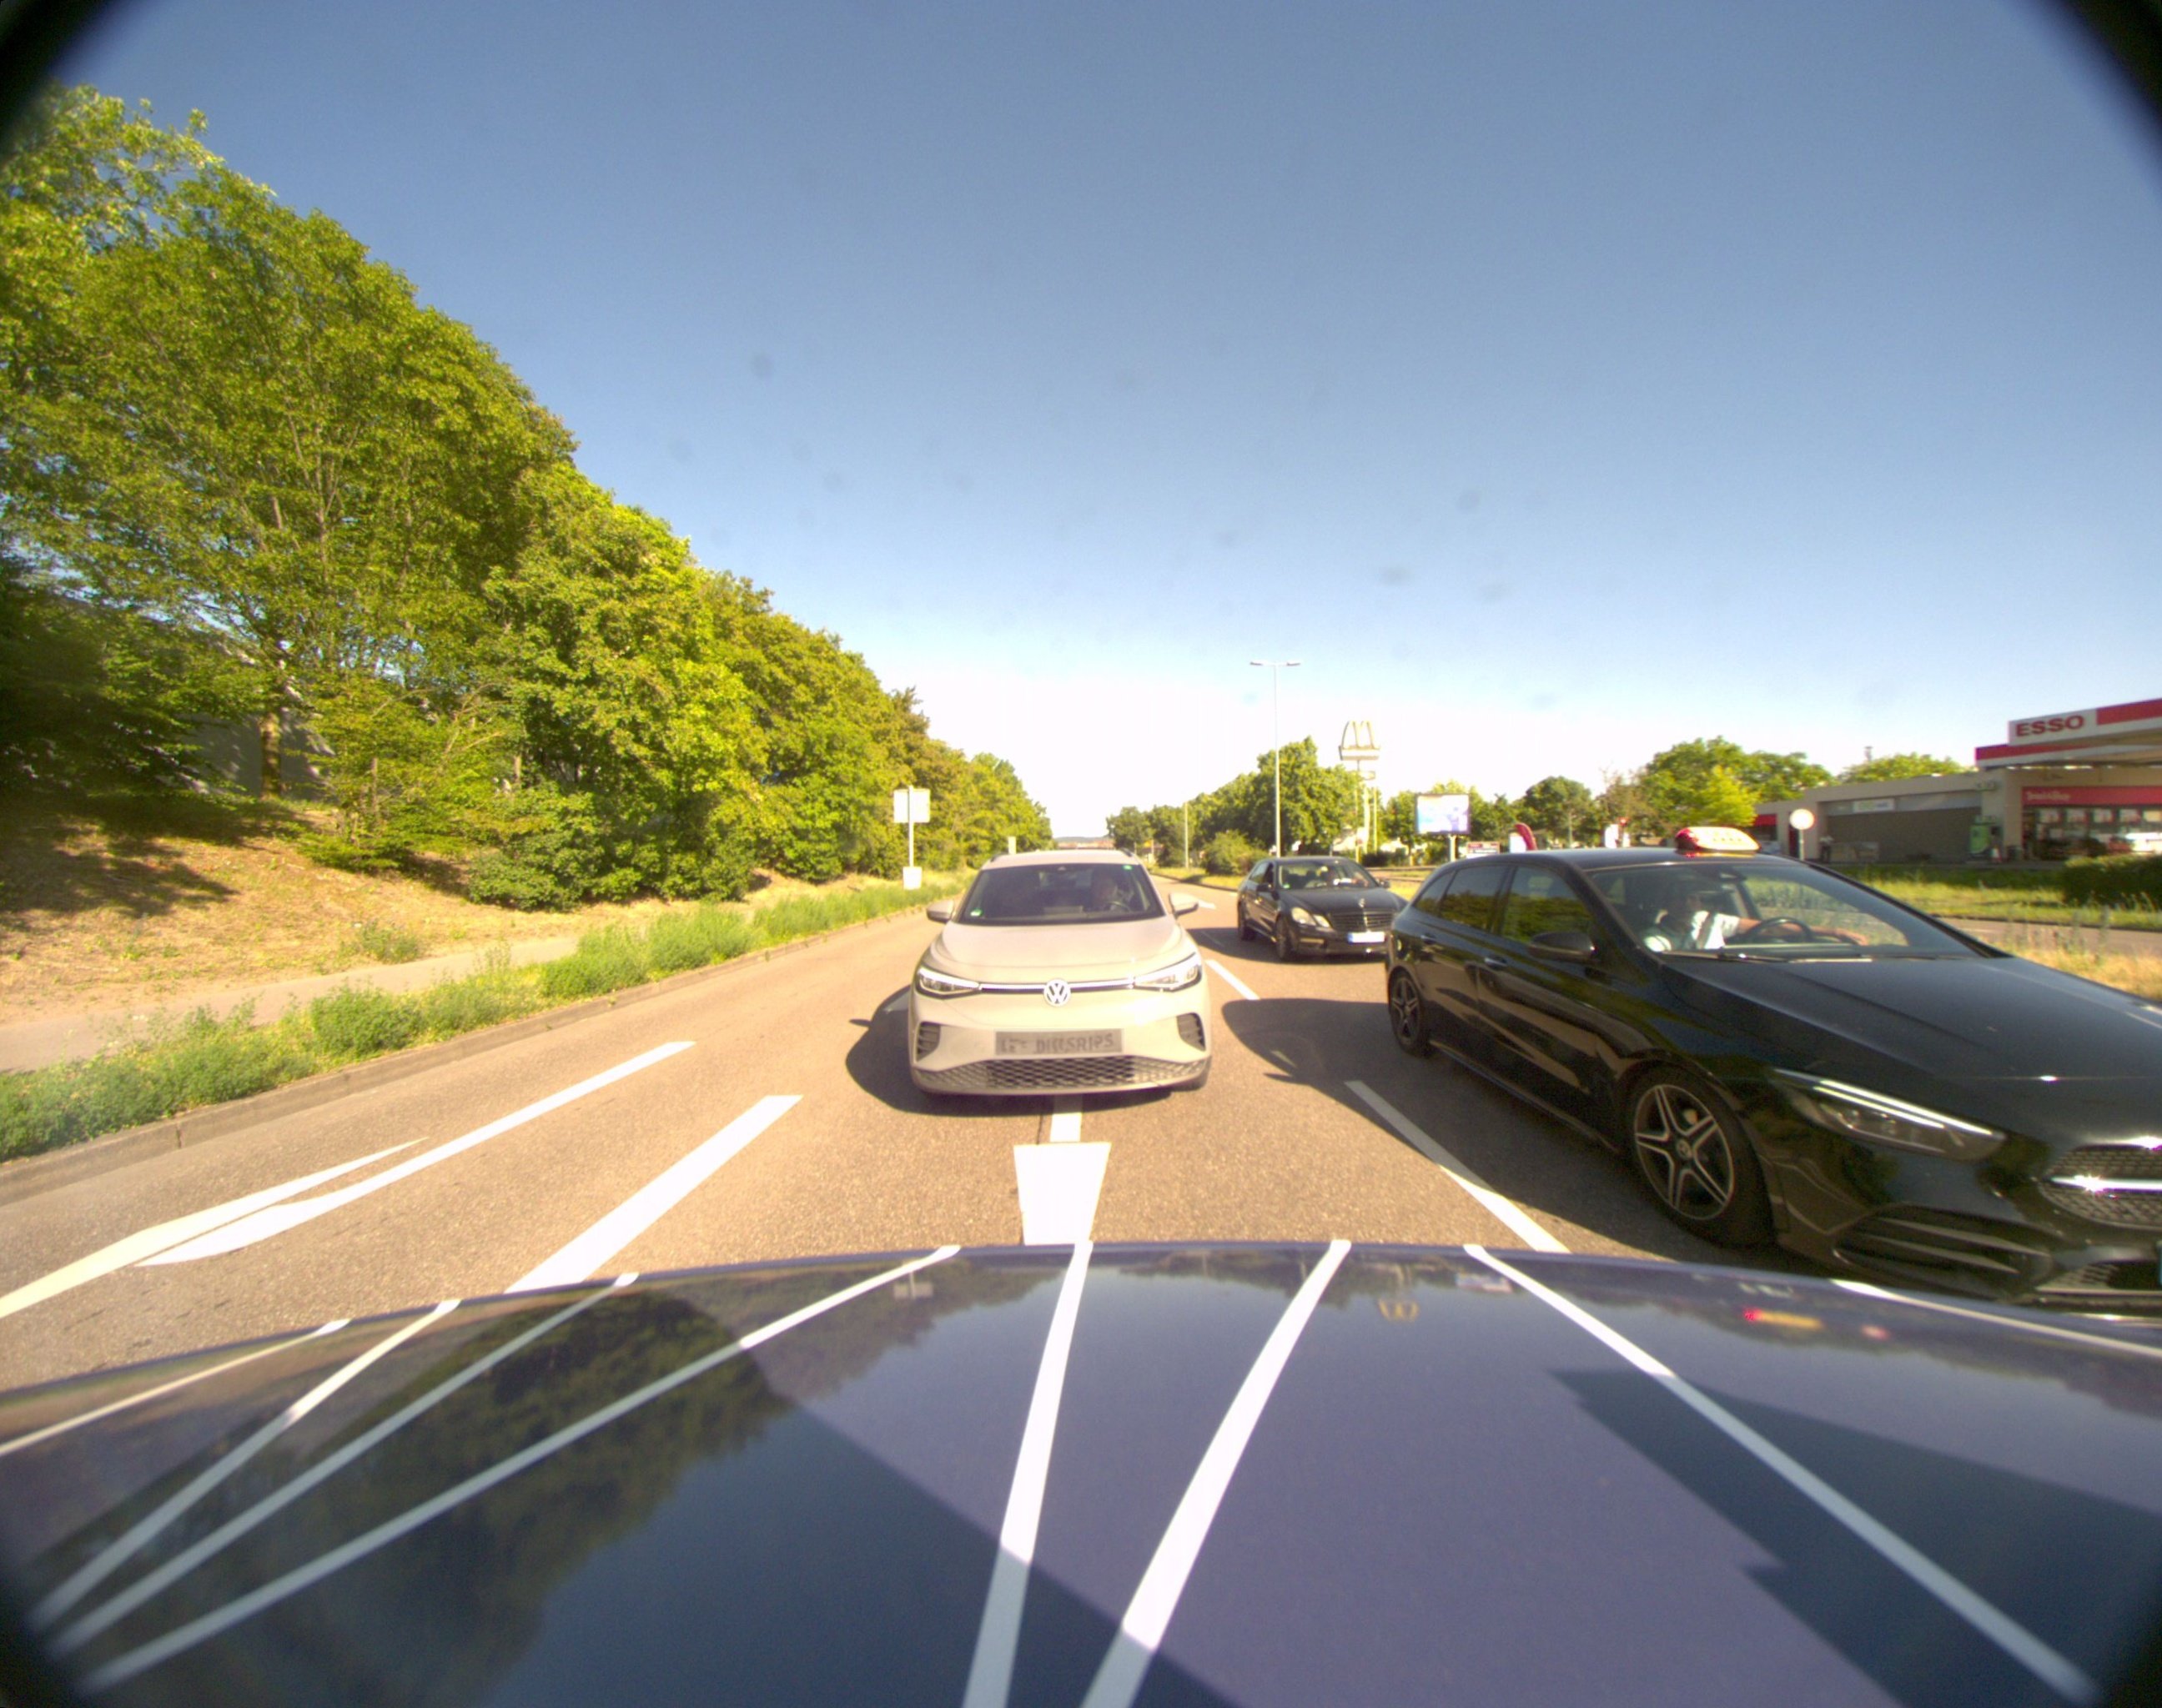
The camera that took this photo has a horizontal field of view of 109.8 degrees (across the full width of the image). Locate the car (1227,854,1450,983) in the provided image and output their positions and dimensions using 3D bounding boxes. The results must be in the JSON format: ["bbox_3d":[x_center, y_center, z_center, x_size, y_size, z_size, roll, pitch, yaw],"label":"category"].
[{"bbox_3d":[3.667,0.807,11.798,1.953,1.501,4.462,-2,1,1],"label":"car"}]

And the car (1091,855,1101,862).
[{"bbox_3d":[2.974,0.864,149.286,1.998,1.433,4.000,-1,0,1],"label":"car"}]

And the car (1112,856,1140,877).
[{"bbox_3d":[3.389,0.913,57.609,1.998,1.434,4.000,-2,1,2],"label":"car"}]

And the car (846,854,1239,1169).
[{"bbox_3d":[-0.177,0.841,6.084,2.025,1.601,4.098,-2,0,1],"label":"car"}]

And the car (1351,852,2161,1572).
[{"bbox_3d":[3.157,0.812,4.018,1.788,1.592,4.583,-2,0,0],"label":"car"}]

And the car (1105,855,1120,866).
[{"bbox_3d":[4.372,0.860,104.840,1.998,1.433,4.000,-1,0,1],"label":"car"}]

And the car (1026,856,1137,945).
[{"bbox_3d":[0.038,0.884,16.368,2.036,1.601,4.098,-2,0,1],"label":"car"}]
